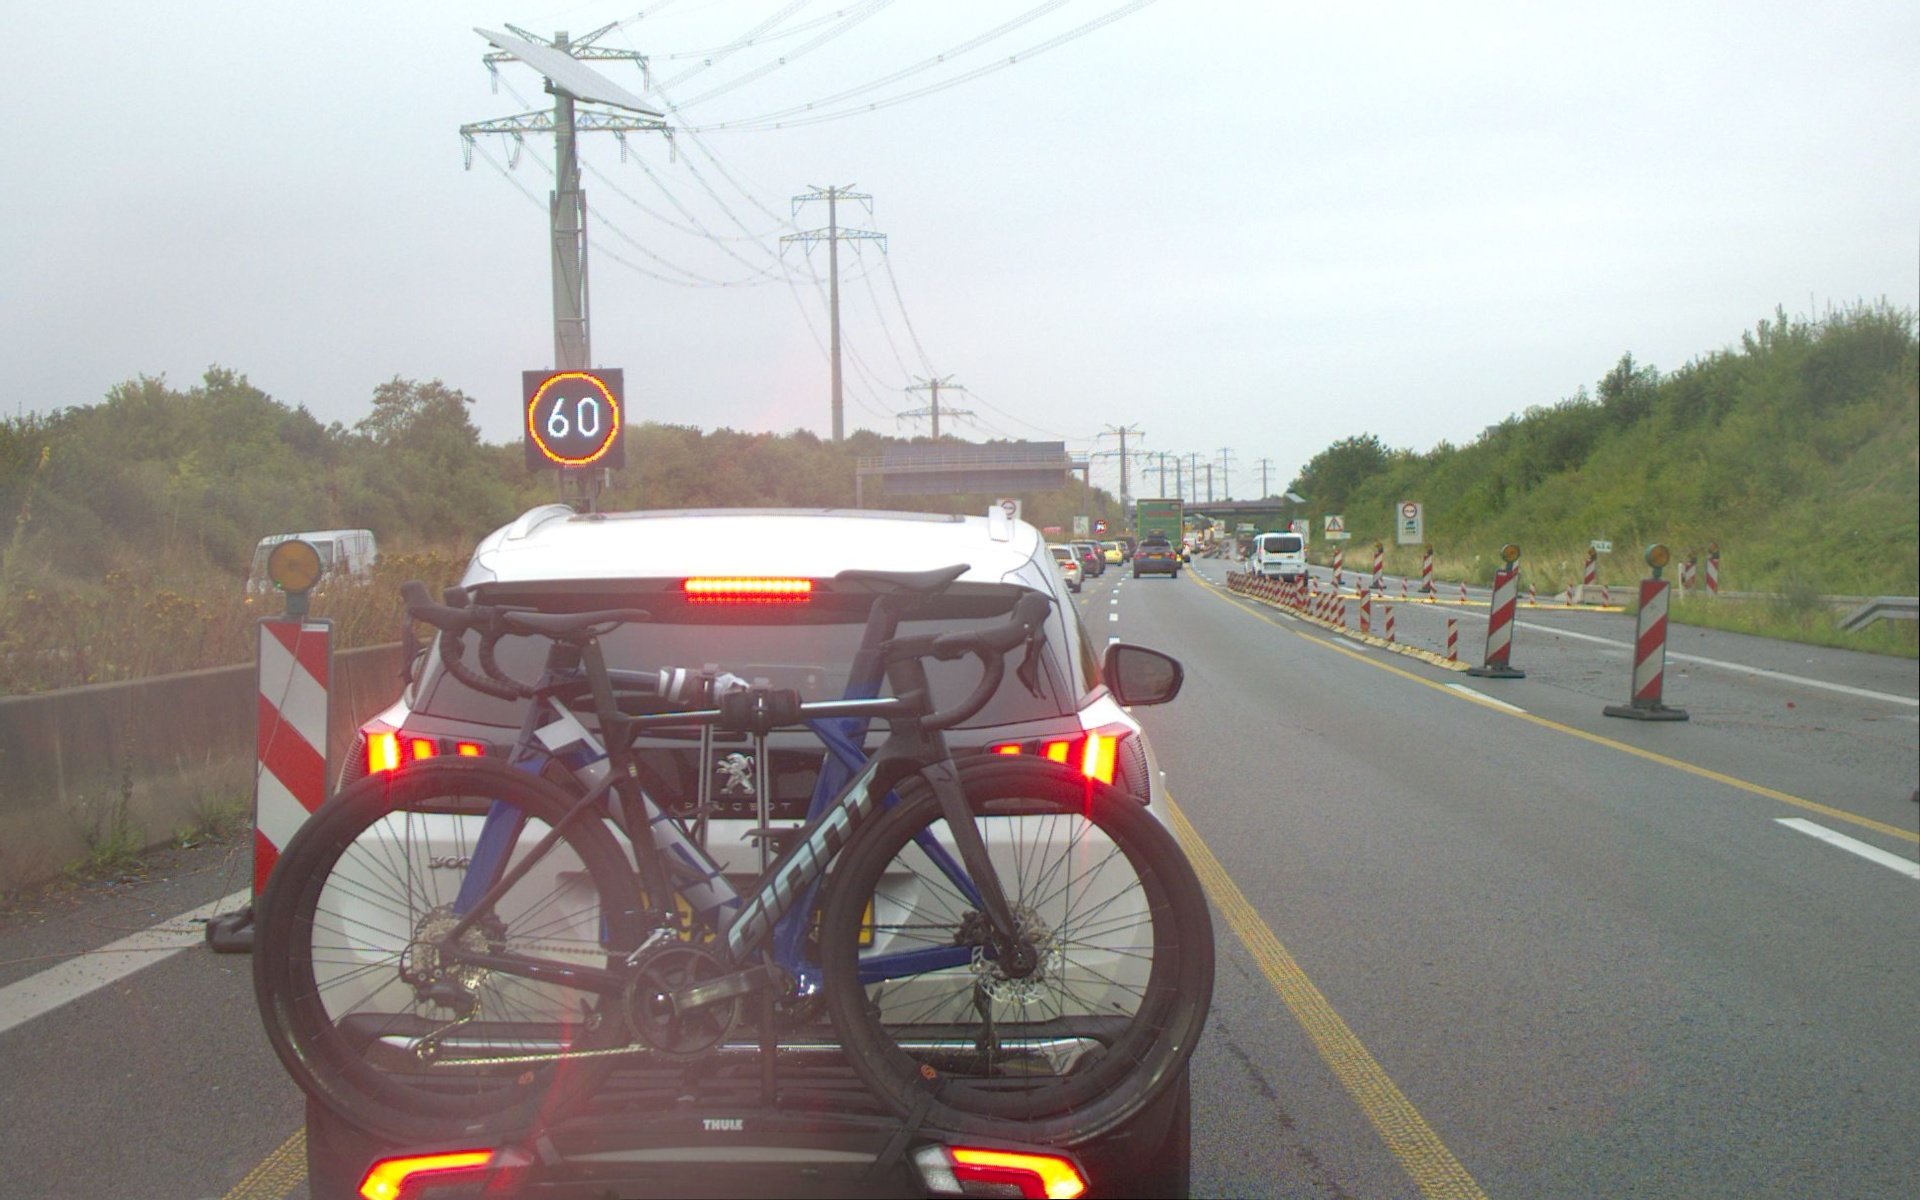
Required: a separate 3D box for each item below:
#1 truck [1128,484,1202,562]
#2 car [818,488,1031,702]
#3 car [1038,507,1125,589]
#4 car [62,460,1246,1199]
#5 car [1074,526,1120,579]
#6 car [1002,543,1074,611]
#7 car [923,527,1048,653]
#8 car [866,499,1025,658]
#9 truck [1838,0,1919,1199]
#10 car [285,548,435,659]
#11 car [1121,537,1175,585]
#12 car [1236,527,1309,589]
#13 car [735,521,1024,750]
[{"bbox_3d":[11.621,-4.472,195.968,3.732,3.808,11.871,1,4,1],"label":"truck"},{"bbox_3d":[-0.360,-0.085,35.006,1.993,2.007,4.000,-1,1,-1],"label":"car"},{"bbox_3d":[3.177,-1.346,90.418,1.993,2.007,4.000,-1,-1,-1],"label":"car"},{"bbox_3d":[-0.439,0.538,7.895,1.928,1.605,4.595,0,1,2],"label":"car"},{"bbox_3d":[5.294,-1.845,132.505,1.654,2.007,4.000,0,1,3],"label":"car"},{"bbox_3d":[2.339,-0.695,103.900,1.993,2.007,4.000,1,0,-1],"label":"car"},{"bbox_3d":[0.392,-0.175,57.608,1.993,2.007,4.000,1,0,-1],"label":"car"},{"bbox_3d":[-0.203,-0.311,45.933,1.993,2.007,4.000,-1,1,0],"label":"car"},{"bbox_3d":[2.996,-0.354,4.365,2.644,3.877,4.030,1,0,-1],"label":"truck"},{"bbox_3d":[-14.108,0.036,81.194,2.240,2.432,5.883,-1,1,2],"label":"car"},{"bbox_3d":[7.940,-1.639,145.748,1.993,2.007,4.000,1,0,-1],"label":"car"},{"bbox_3d":[10.518,-1.436,115.917,1.993,2.007,4.000,-1,1,-1],"label":"car"},{"bbox_3d":[-0.580,0.206,25.688,1.993,1.578,4.000,0,1,-1],"label":"car"}]
